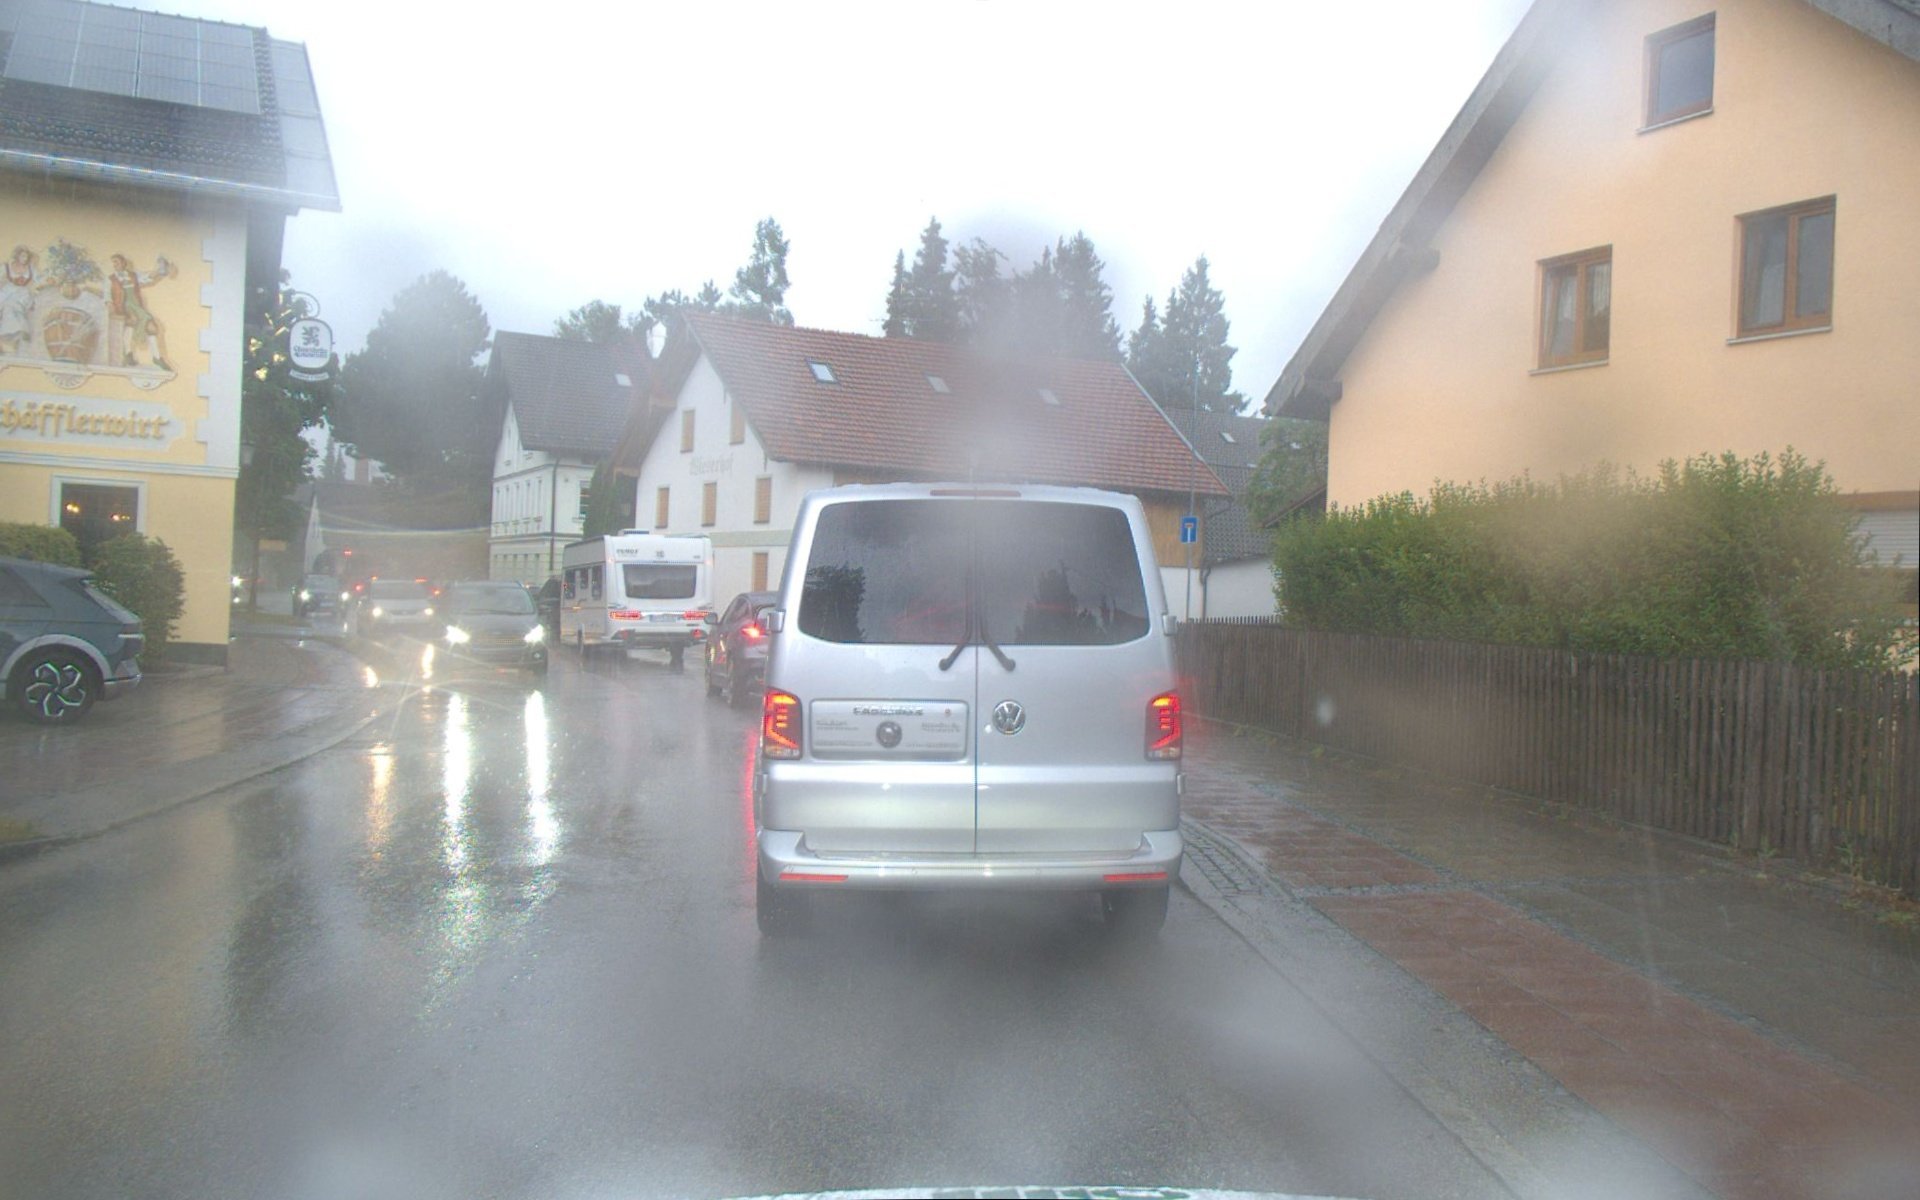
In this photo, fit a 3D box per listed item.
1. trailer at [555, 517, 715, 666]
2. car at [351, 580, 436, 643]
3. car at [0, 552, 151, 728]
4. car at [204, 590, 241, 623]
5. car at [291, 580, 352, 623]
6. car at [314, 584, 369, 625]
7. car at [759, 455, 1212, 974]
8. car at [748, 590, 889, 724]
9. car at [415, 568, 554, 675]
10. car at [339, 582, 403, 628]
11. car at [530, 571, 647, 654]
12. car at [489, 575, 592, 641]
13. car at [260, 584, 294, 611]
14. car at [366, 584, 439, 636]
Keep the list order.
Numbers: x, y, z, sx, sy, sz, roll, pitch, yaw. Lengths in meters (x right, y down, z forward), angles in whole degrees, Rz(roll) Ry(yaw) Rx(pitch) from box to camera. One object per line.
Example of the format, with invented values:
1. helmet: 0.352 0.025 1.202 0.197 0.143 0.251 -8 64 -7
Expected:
1. trailer: -7.186 -0.176 36.002 2.240 2.955 6.090 1 0 -22
2. car: -16.108 0.316 46.939 1.733 1.707 3.963 0 0 -28
3. car: -10.565 0.272 16.384 4.427 1.594 1.822 5 0 -29
4. car: -46.315 0.400 103.813 1.829 2.006 4.659 0 0 -28
5. car: -24.725 0.055 63.984 1.572 1.638 3.499 0 0 -32
6. car: -32.594 0.226 87.137 2.143 1.932 4.971 3 0 -27
7. car: 0.092 0.443 8.931 1.740 1.997 5.073 0 0 0
8. car: -2.091 0.702 23.359 1.677 1.611 4.677 -1 1 -8
9. car: -8.652 0.343 29.876 1.897 1.775 4.161 0 0 -24
10. car: -27.399 0.218 76.826 2.143 1.932 4.971 3 0 -27
11. car: -9.330 0.294 41.201 2.025 1.932 5.141 1 0 -22
12. car: -13.515 0.249 53.099 2.143 1.932 4.971 3 -1 -27
13. car: -55.334 -0.211 133.933 2.143 1.932 4.971 3 0 -27
14. car: -23.305 0.395 69.029 2.143 1.932 4.971 3 0 -27
